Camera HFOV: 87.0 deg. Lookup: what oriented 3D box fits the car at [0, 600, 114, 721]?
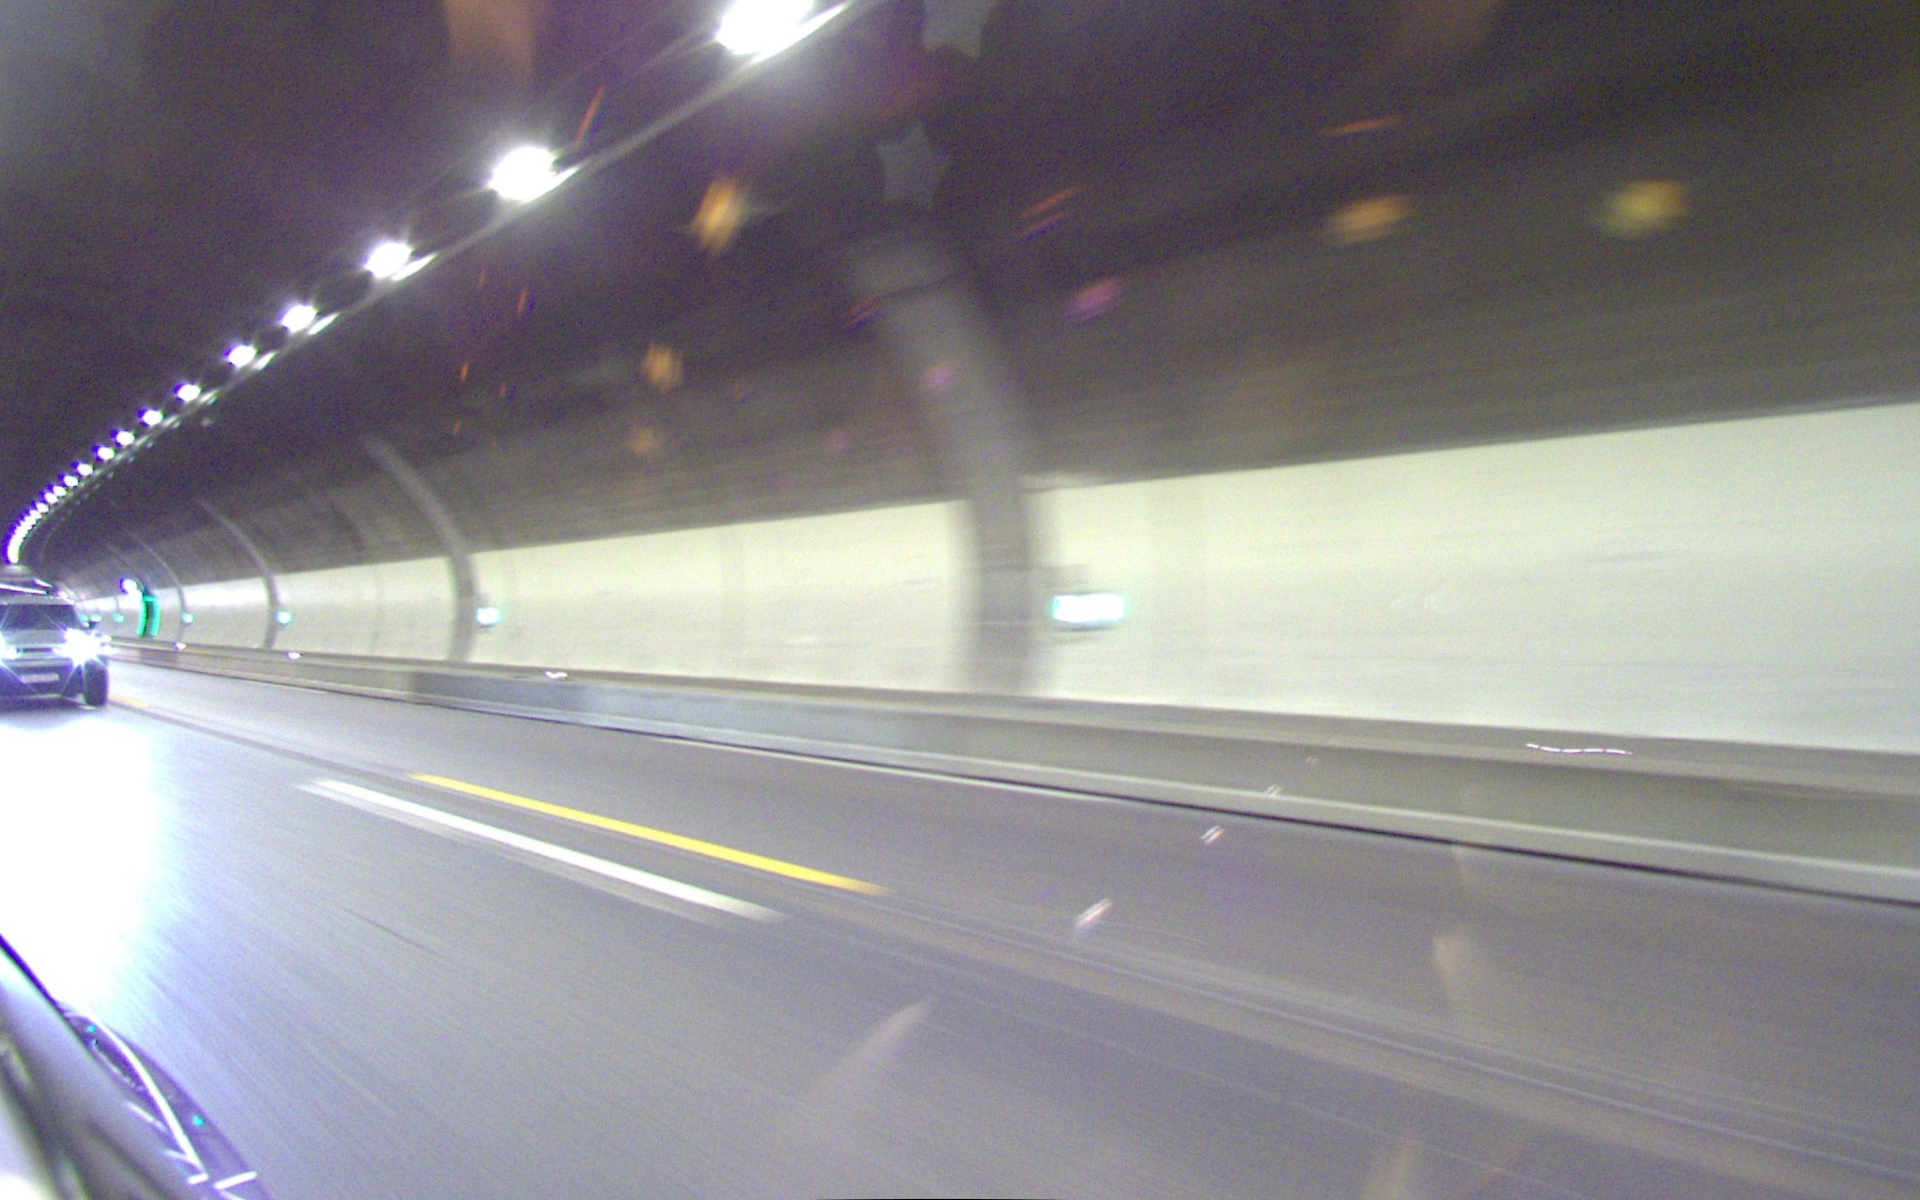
[{"bbox_3d":[-16.900,1.017,18.047,5.451,1.909,1.972,-2,-3,42],"label":"car"}]
